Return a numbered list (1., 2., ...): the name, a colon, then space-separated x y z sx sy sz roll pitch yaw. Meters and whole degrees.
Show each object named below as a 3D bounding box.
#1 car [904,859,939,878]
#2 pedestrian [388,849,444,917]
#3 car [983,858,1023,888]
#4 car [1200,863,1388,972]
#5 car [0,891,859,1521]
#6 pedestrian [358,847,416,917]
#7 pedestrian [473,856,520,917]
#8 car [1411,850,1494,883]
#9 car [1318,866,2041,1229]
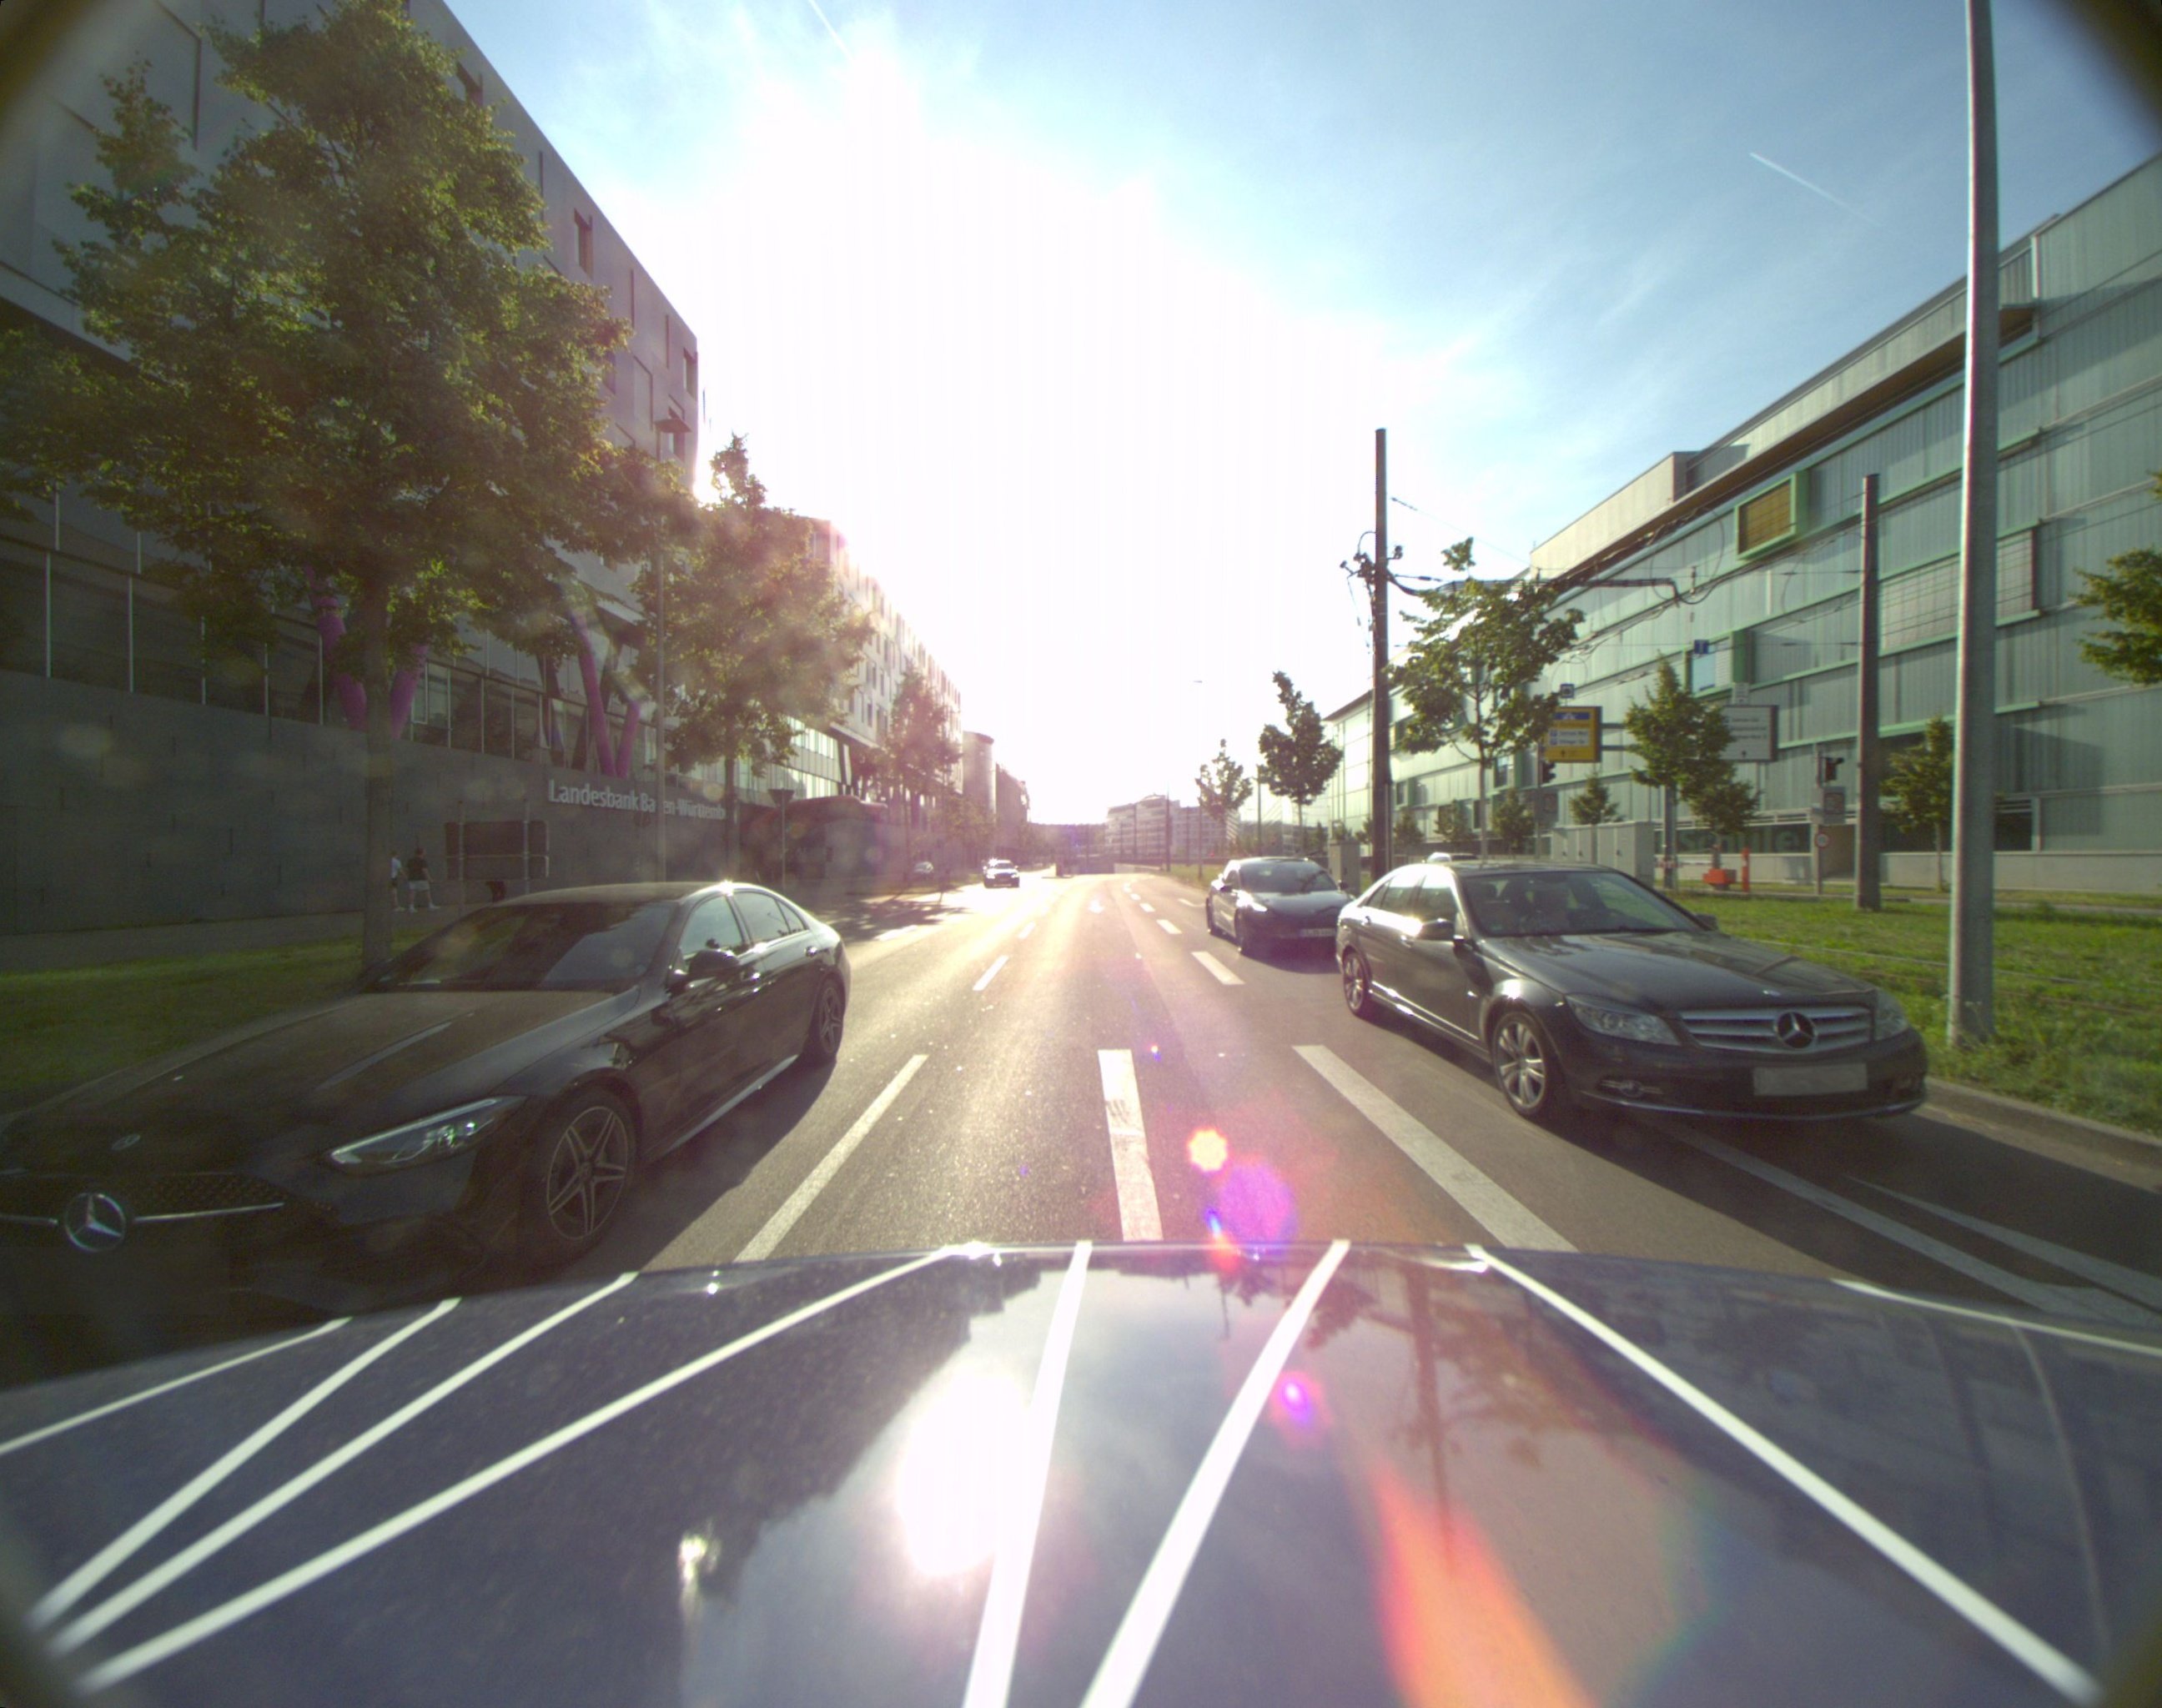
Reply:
1. car: -11.600 1.048 55.603 1.696 1.382 4.199 0 -1 -1
2. pedestrian: -18.038 0.774 20.620 0.756 1.783 0.844 2 0 0
3. car: -4.443 1.015 42.681 1.896 1.418 4.468 -2 1 -10
4. car: 3.225 0.890 12.463 1.894 1.377 4.335 -2 0 1
5. car: -2.889 1.039 4.254 1.843 1.441 4.556 -2 -1 1
6. pedestrian: -18.728 0.739 20.525 0.770 1.814 0.853 2 0 0
7. pedestrian: -16.067 0.873 20.891 0.695 1.629 0.736 2 0 0
8. car: 20.462 0.667 42.121 1.999 1.674 4.994 0 0 -2
9. car: 3.254 0.873 5.453 1.791 1.470 4.354 -2 0 1
